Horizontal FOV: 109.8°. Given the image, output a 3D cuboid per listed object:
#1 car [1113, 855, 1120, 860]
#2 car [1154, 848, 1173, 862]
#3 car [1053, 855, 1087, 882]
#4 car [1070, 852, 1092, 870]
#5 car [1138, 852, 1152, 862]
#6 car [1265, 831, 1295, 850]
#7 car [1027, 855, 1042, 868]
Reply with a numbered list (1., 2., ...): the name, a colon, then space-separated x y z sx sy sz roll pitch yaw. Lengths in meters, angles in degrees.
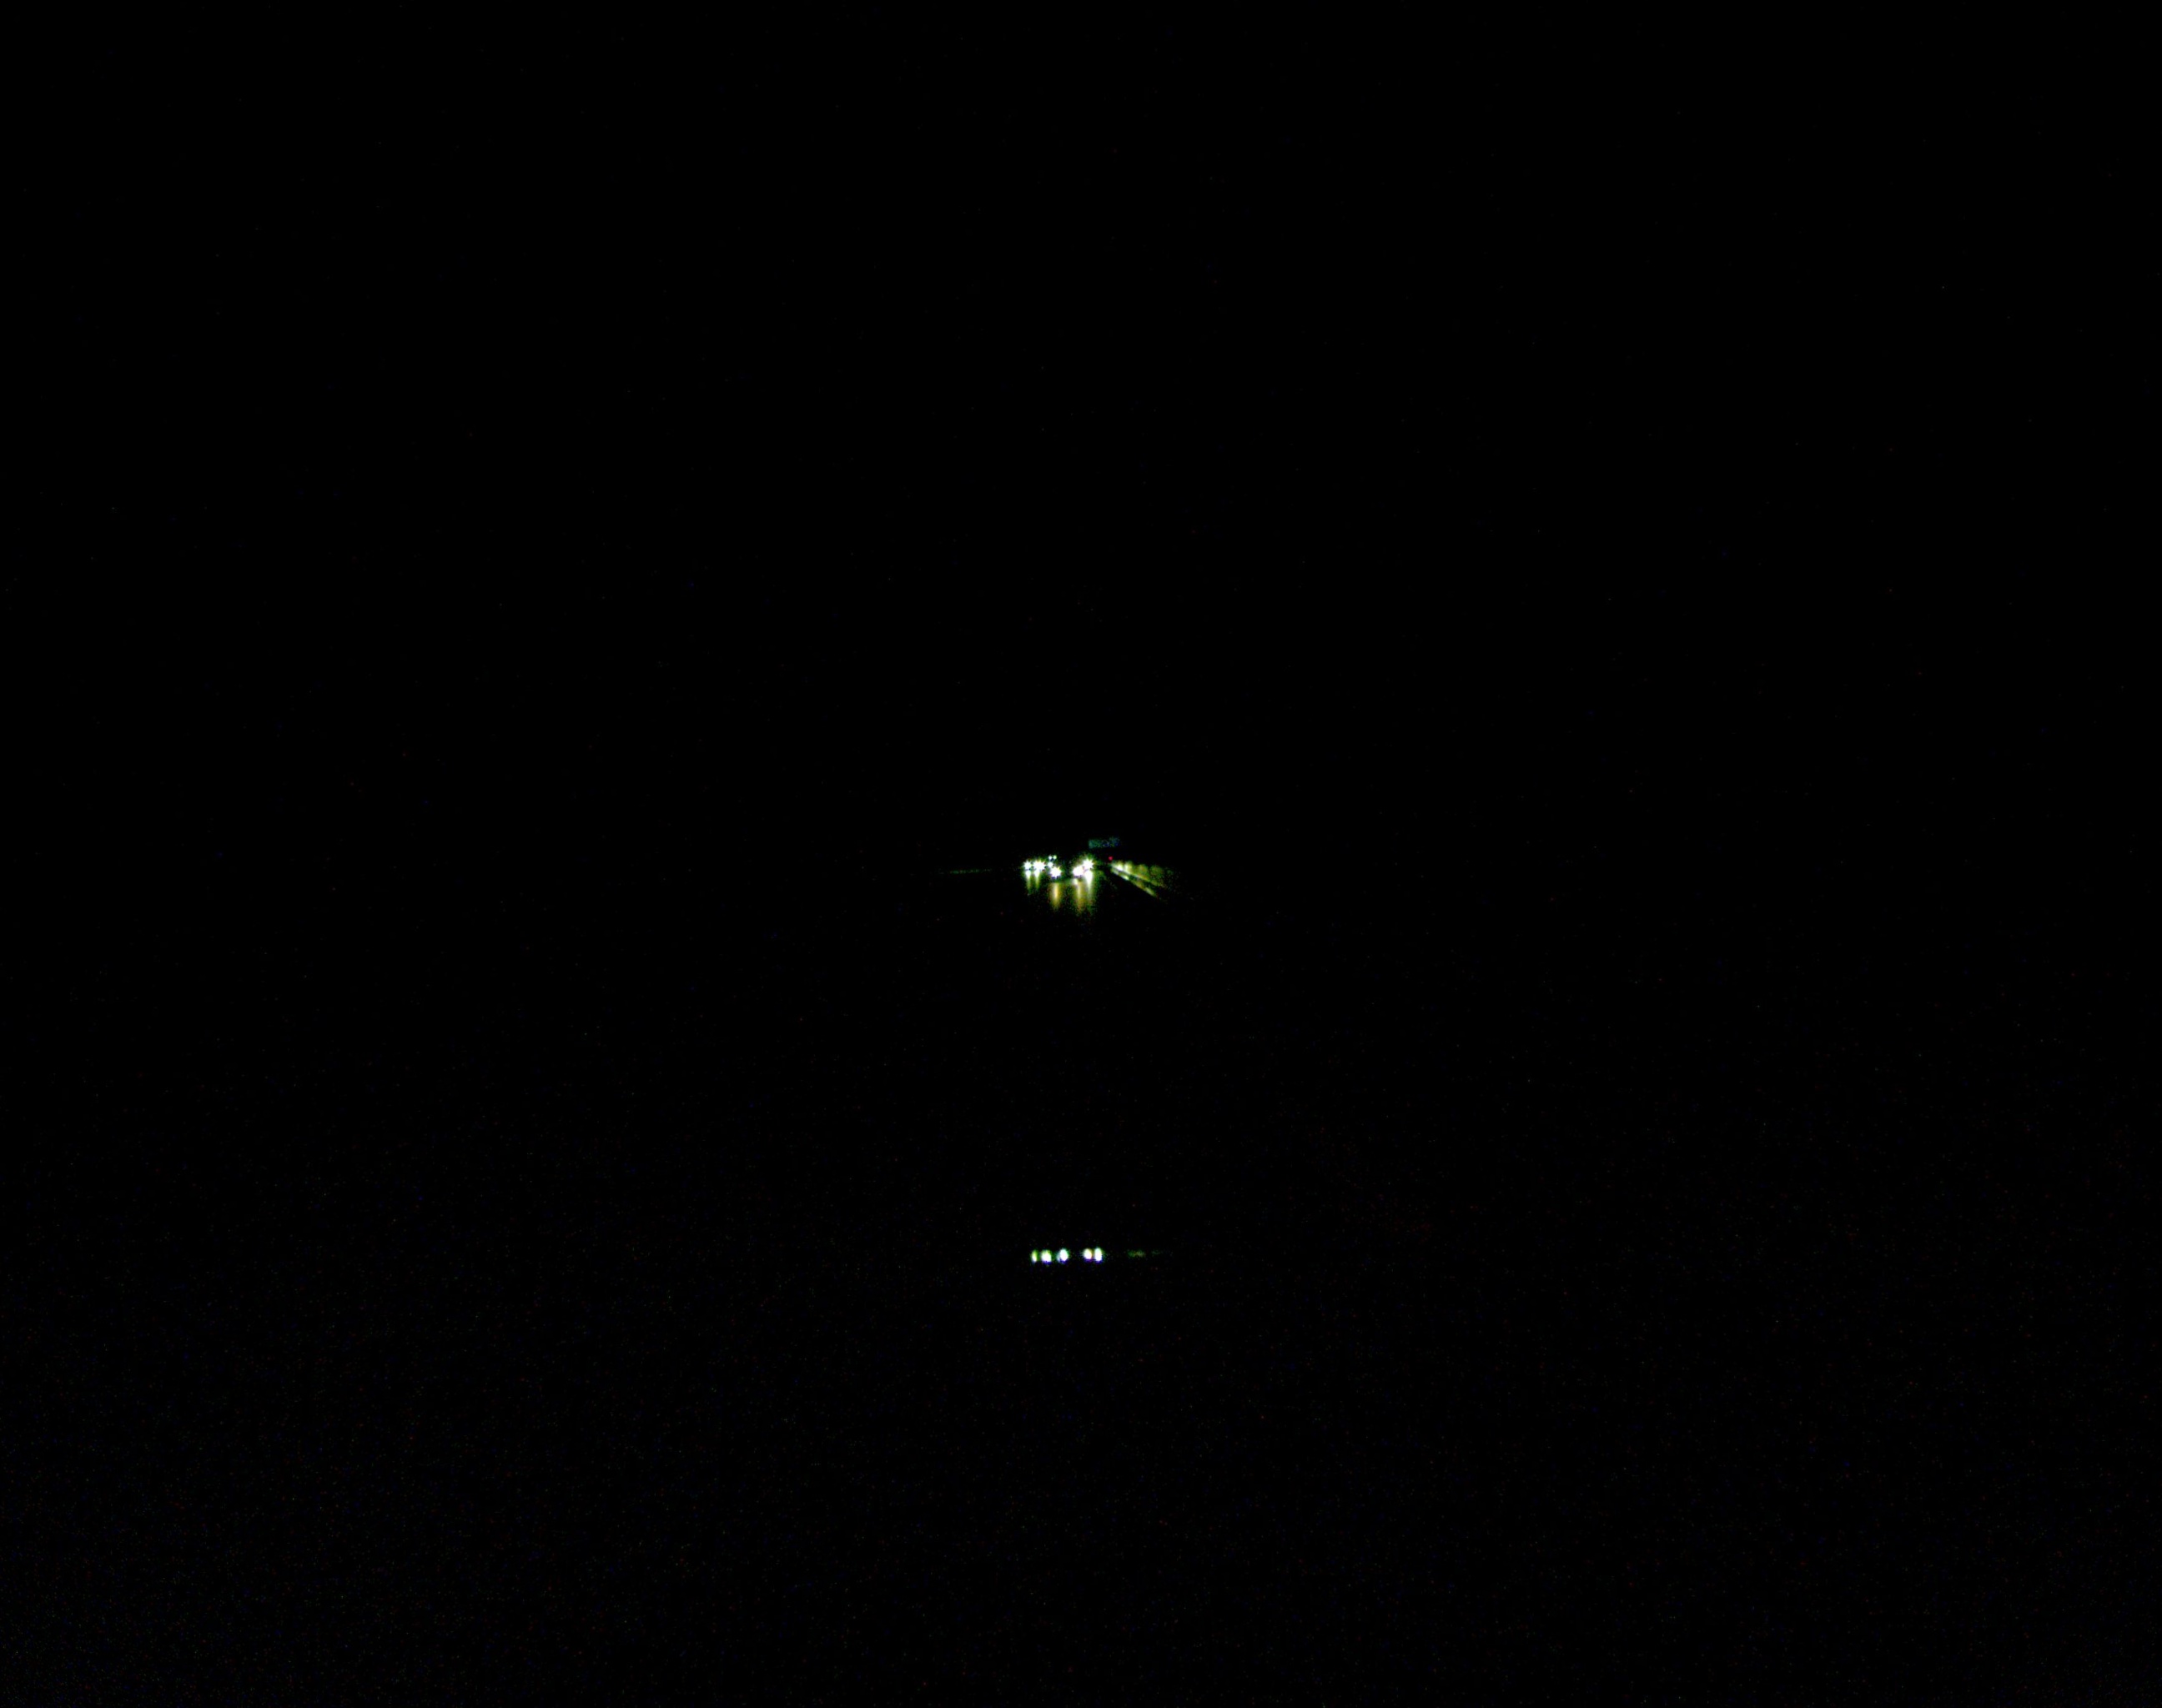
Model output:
1. car: 11.899 1.135 254.766 1.938 1.552 4.453 -5 -1 0
2. car: 12.002 0.151 111.168 1.998 1.765 4.749 -5 -1 -1
3. car: -0.689 0.883 46.984 1.840 1.392 5.069 -5 -1 -2
4. car: 0.041 0.716 80.547 2.012 1.652 4.001 -5 -1 2
5. car: 12.715 0.693 151.149 1.998 1.765 5.170 -5 -1 -1
6. car: 21.368 -1.454 81.703 1.999 1.914 3.999 -2 0 -1
7. car: -7.283 1.207 119.282 1.999 1.707 5.167 -5 -1 -3
